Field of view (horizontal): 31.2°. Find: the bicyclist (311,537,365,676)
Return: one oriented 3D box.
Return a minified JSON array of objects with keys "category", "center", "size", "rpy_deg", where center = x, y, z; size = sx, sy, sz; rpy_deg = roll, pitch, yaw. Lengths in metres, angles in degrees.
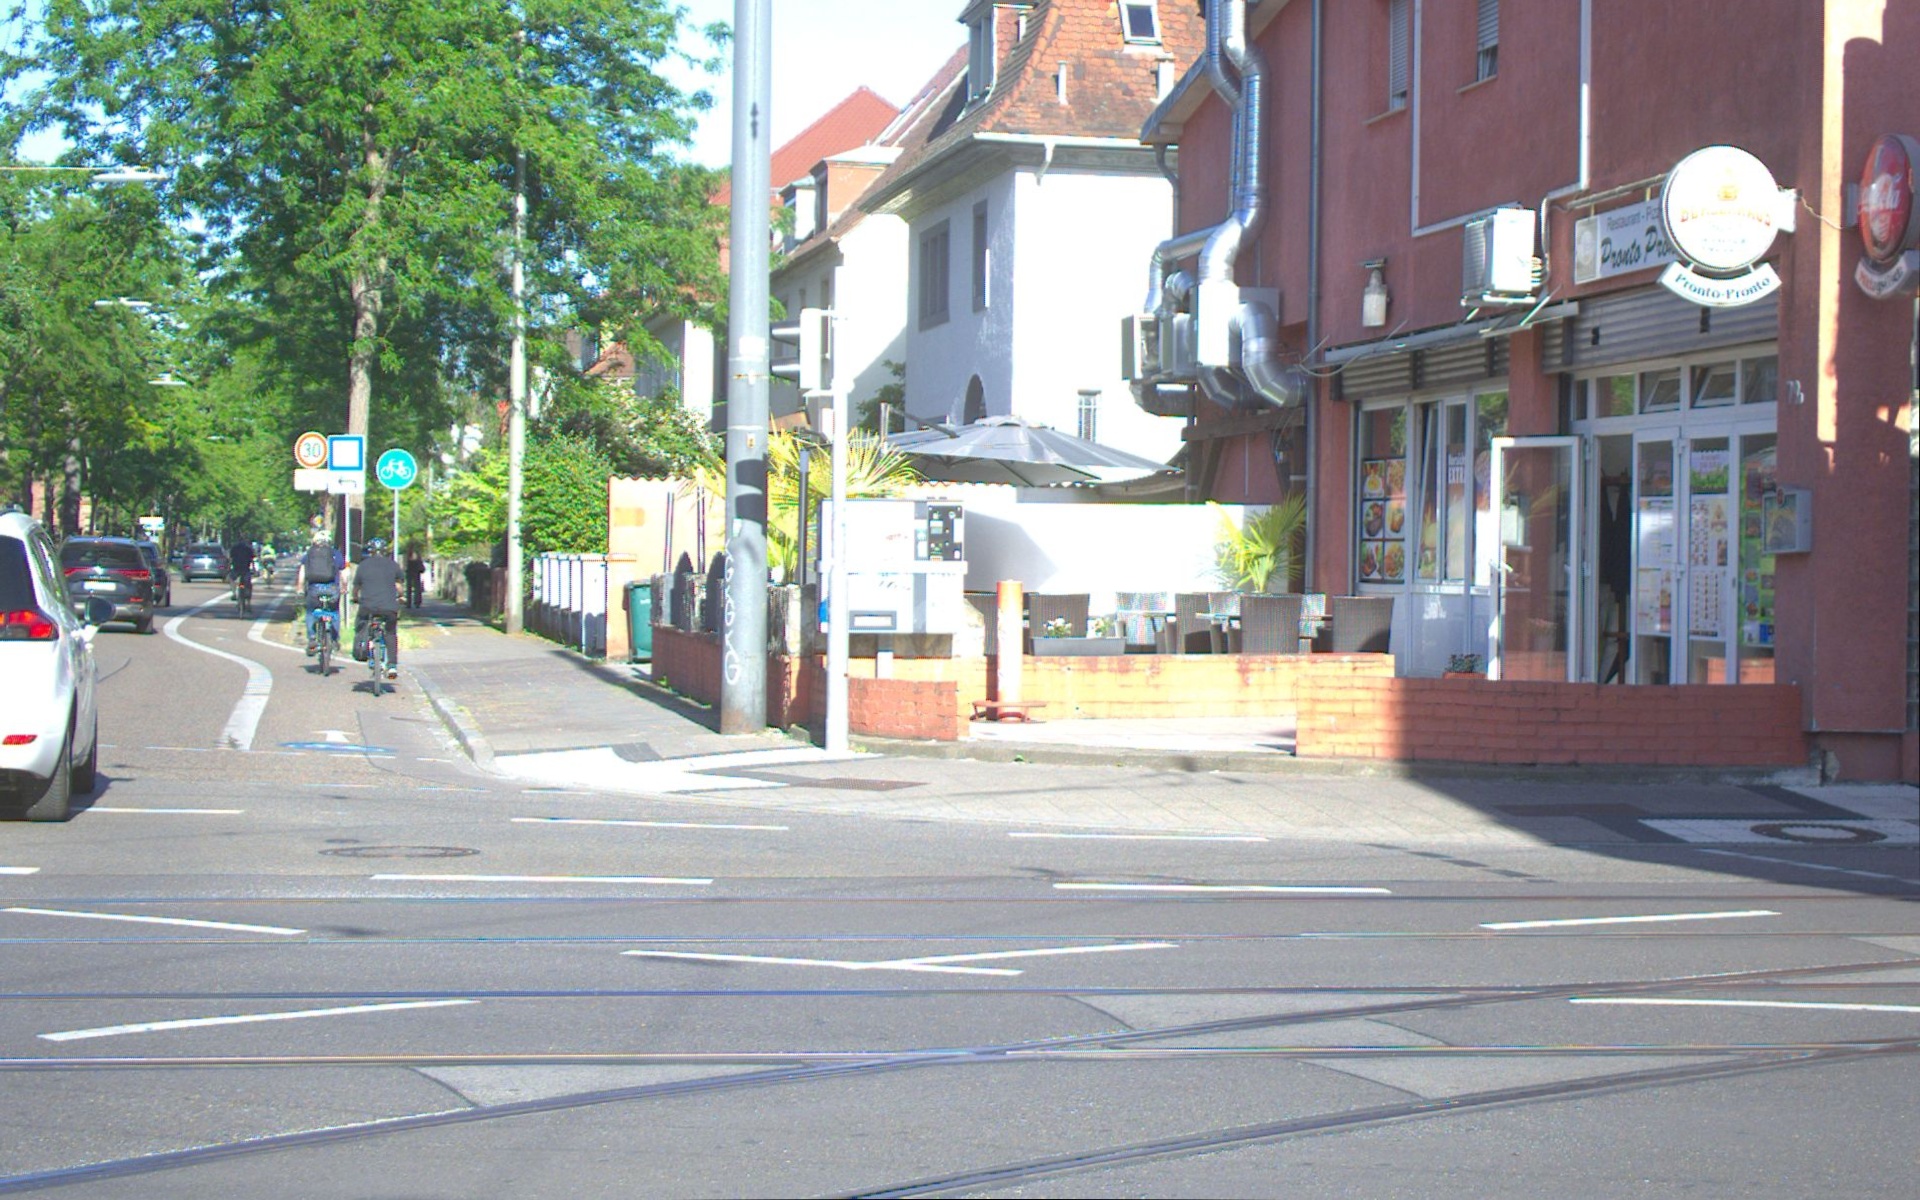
[{"category":"bicyclist","center":[-7.592,0.076,41.980],"size":[0.608,1.650,0.795],"rpy_deg":[1,2,-10]}]

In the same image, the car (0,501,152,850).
[{"category":"car","center":[-5.609,0.286,18.941],"size":[1.962,1.659,4.251],"rpy_deg":[3,1,-11]}]

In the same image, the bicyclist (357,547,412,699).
[{"category":"bicyclist","center":[-6.271,0.243,37.447],"size":[0.554,1.611,0.686],"rpy_deg":[1,2,-10]}]

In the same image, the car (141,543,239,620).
[{"category":"car","center":[-18.763,-0.472,83.906],"size":[1.991,1.659,4.125],"rpy_deg":[3,1,-9]}]

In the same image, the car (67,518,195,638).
[{"category":"car","center":[-14.421,-0.408,59.671],"size":[1.991,1.843,4.251],"rpy_deg":[3,1,-15]}]

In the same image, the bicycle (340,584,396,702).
[{"category":"bicycle","center":[-6.415,0.447,37.227],"size":[0.558,1.185,1.996],"rpy_deg":[1,2,-10]}]

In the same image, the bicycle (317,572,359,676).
[{"category":"bicycle","center":[-7.543,0.282,41.662],"size":[0.470,1.185,1.996],"rpy_deg":[1,1,-10]}]
